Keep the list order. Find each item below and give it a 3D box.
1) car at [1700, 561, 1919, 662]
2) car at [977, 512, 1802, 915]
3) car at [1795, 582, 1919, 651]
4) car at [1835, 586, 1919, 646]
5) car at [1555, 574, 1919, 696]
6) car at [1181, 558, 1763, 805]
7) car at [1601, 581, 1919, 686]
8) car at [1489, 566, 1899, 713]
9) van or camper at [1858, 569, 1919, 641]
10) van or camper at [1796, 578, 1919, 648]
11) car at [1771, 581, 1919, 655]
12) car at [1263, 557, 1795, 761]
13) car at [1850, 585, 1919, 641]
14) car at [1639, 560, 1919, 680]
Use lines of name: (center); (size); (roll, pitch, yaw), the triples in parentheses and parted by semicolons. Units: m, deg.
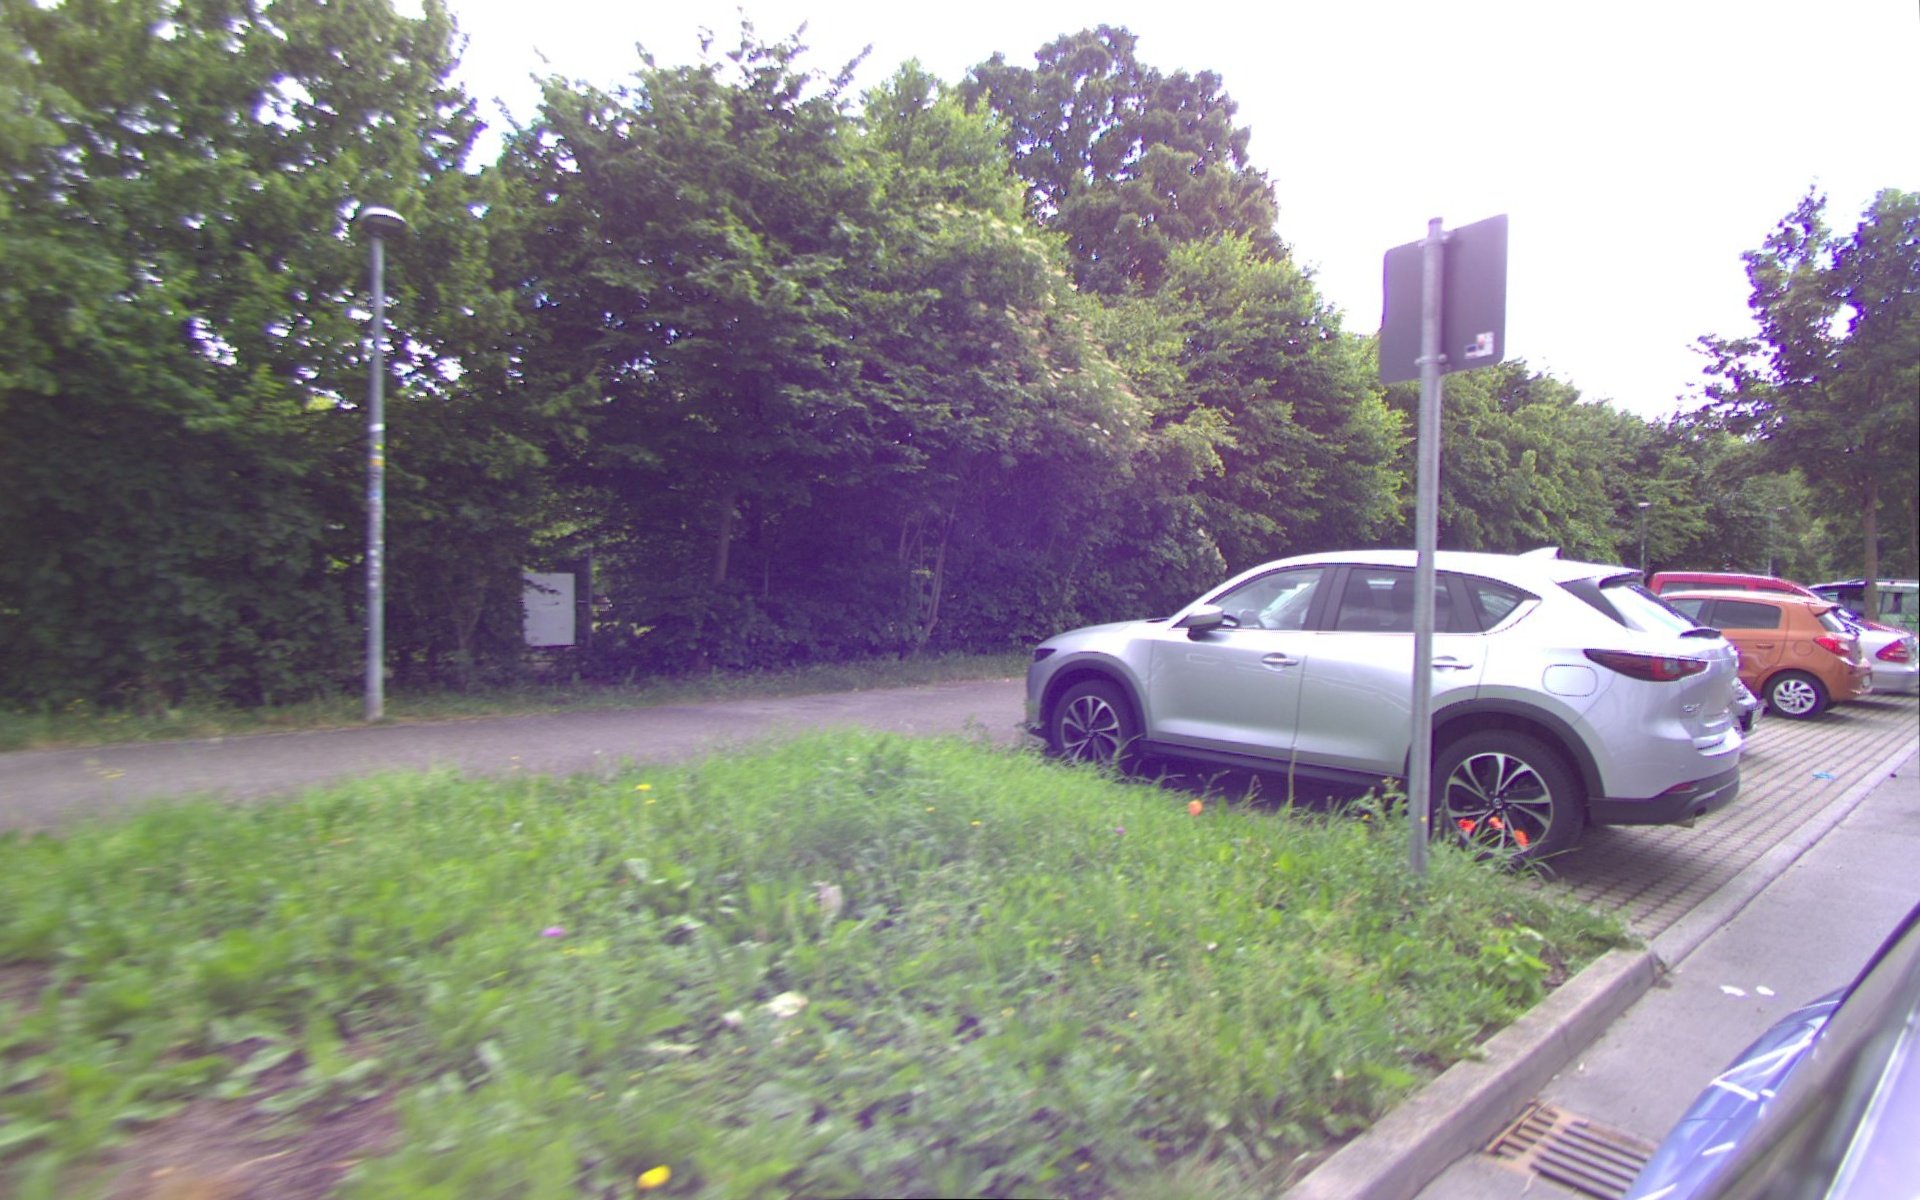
car: (19.227, 0.212, 22.142); (1.852, 1.922, 4.558); (0, 3, -43)
car: (2.504, 0.357, 6.823); (2.036, 1.773, 4.653); (0, 3, -45)
car: (24.877, 0.424, 26.865); (1.852, 1.754, 3.972); (0, -1, -43)
car: (28.777, 0.474, 30.102); (1.852, 1.754, 3.972); (0, -1, -43)
car: (11.610, 0.409, 15.011); (1.910, 1.453, 4.404); (0, 2, -41)
car: (4.196, 0.472, 8.826); (1.766, 1.605, 4.160); (0, 2, -43)
car: (13.526, 0.472, 17.027); (1.806, 1.426, 4.286); (0, 2, -43)
car: (9.677, 0.393, 13.650); (1.647, 1.611, 4.158); (0, 2, -39)
van or camper: (32.326, 0.150, 33.306); (1.852, 2.349, 3.972); (0, -1, -43)
van or camper: (26.501, 0.357, 28.824); (1.700, 1.897, 3.972); (0, -1, -43)
car: (22.859, 0.437, 25.157); (1.852, 1.754, 3.972); (0, -1, -43)
car: (5.713, 0.416, 10.643); (1.879, 1.581, 4.484); (0, 3, -43)
car: (30.675, 0.409, 31.751); (2.071, 1.622, 3.973); (-3, 3, -43)
car: (15.271, 0.272, 18.606); (1.806, 1.916, 4.286); (0, 2, -43)
